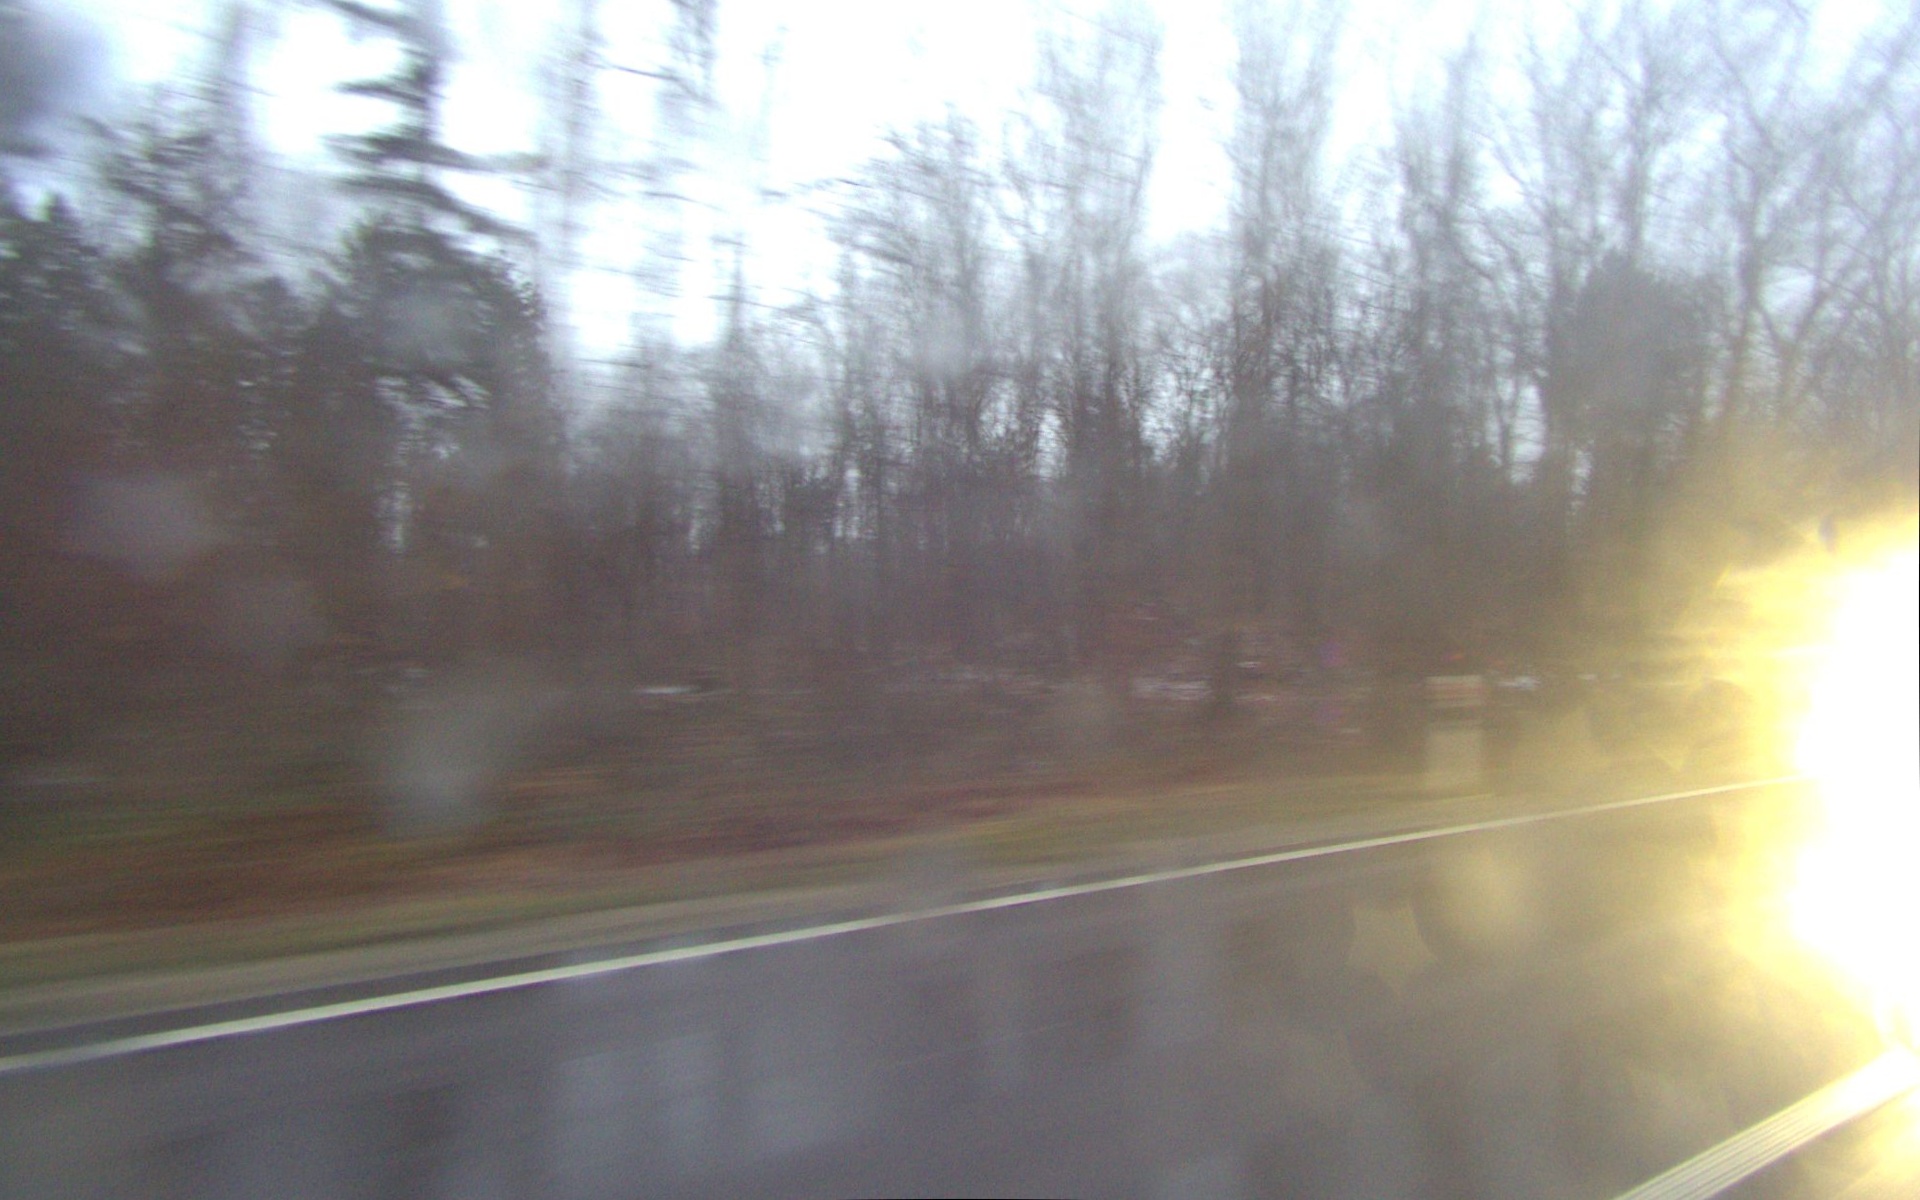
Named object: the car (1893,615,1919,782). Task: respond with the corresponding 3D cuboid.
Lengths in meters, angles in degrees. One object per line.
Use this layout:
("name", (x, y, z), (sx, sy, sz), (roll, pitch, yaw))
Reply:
("car", (11.617, 1.010, 10.239), (4.105, 1.637, 2.065), (2, -2, -31))
